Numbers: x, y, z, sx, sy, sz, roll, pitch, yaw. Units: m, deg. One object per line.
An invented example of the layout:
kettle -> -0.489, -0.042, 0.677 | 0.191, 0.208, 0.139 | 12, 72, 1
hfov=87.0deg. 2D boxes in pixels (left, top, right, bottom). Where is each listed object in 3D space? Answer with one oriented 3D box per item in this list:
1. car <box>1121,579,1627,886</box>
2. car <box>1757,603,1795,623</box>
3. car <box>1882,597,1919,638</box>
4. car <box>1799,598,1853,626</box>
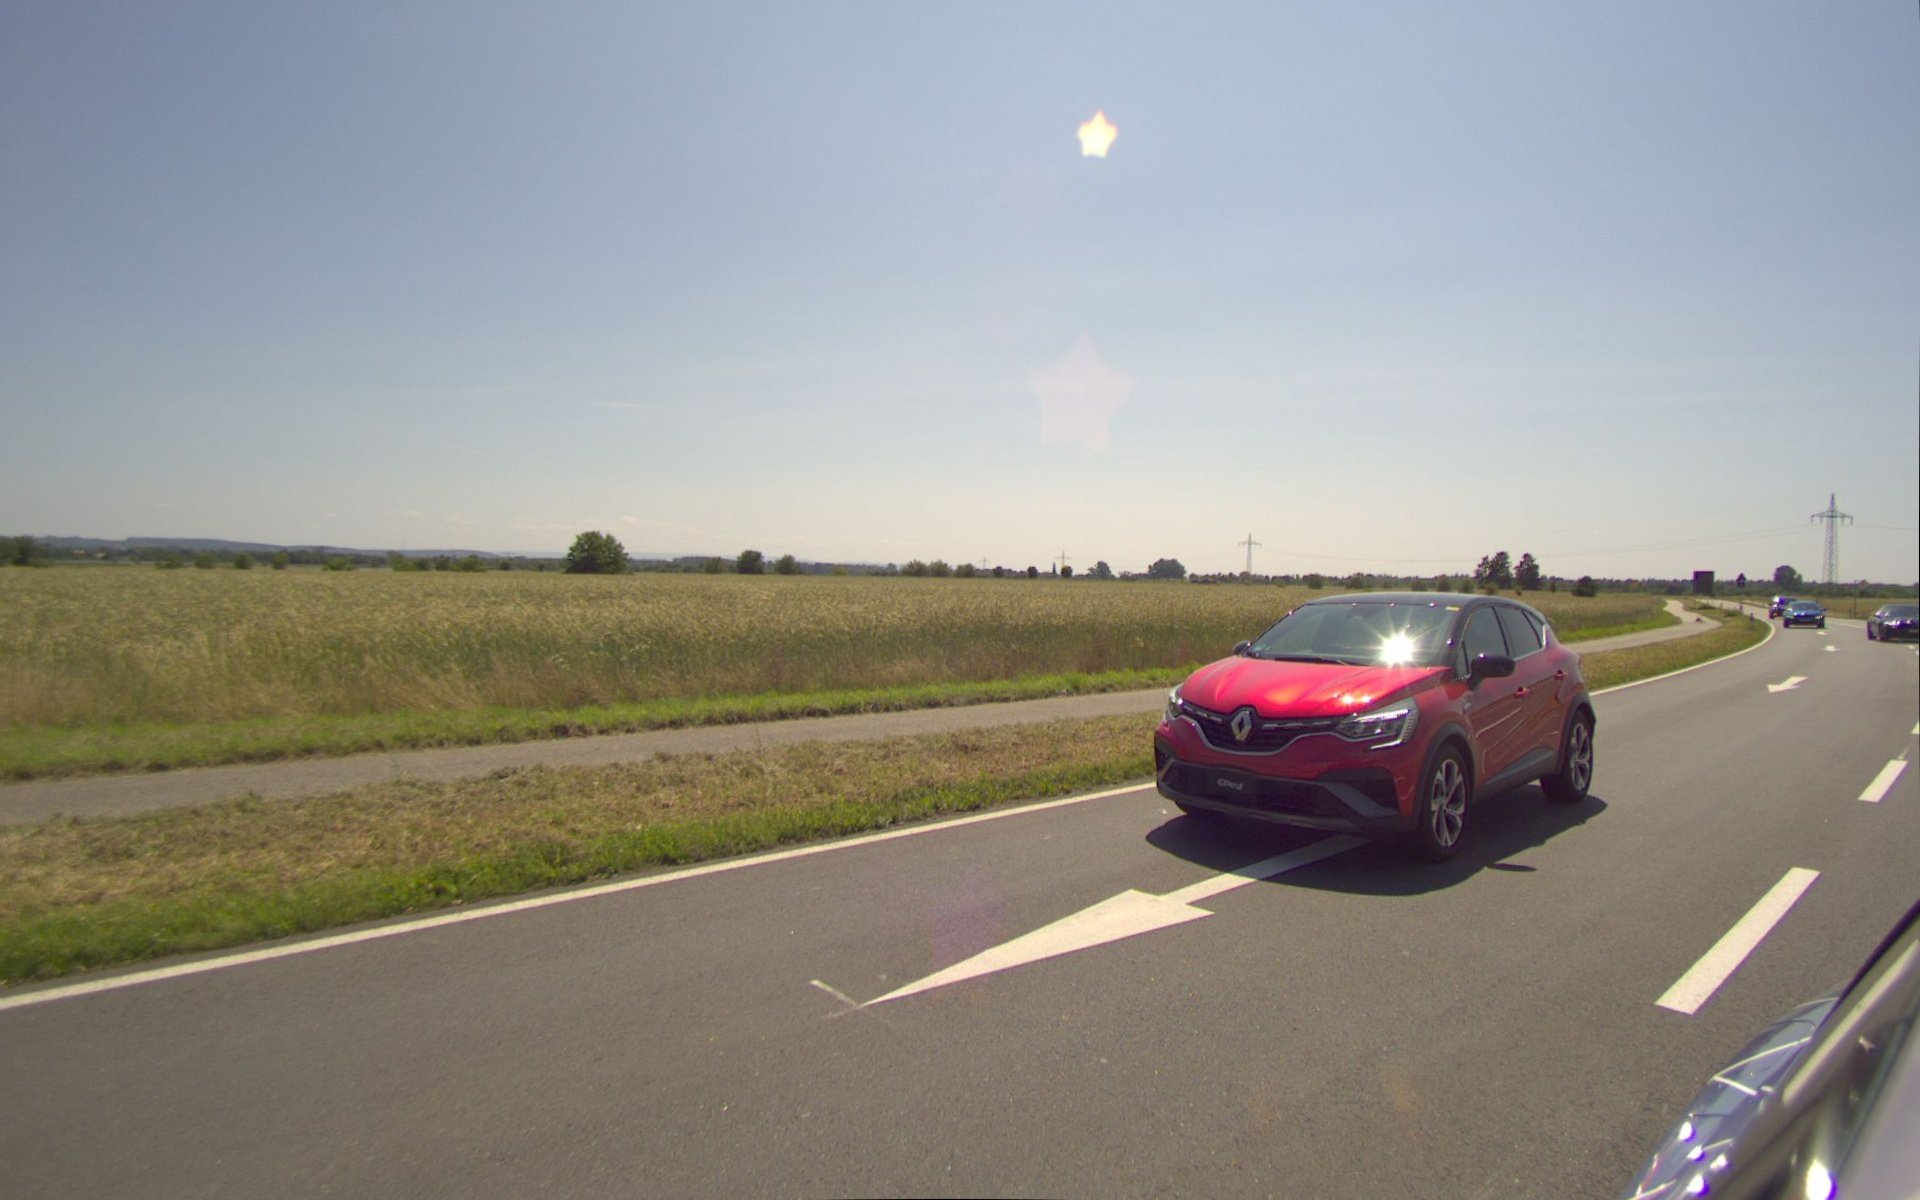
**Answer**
car -> 3.232, 0.665, 7.378 | 4.375, 1.572, 1.823 | 0, 0, -44
car -> 65.400, 0.998, 81.073 | 2.182, 1.485, 4.939 | 0, 0, 41
car -> 37.089, 0.647, 38.921 | 2.181, 1.485, 4.940 | 0, 0, 40
car -> 48.866, 0.633, 57.210 | 2.180, 1.485, 4.942 | 0, 0, 39
